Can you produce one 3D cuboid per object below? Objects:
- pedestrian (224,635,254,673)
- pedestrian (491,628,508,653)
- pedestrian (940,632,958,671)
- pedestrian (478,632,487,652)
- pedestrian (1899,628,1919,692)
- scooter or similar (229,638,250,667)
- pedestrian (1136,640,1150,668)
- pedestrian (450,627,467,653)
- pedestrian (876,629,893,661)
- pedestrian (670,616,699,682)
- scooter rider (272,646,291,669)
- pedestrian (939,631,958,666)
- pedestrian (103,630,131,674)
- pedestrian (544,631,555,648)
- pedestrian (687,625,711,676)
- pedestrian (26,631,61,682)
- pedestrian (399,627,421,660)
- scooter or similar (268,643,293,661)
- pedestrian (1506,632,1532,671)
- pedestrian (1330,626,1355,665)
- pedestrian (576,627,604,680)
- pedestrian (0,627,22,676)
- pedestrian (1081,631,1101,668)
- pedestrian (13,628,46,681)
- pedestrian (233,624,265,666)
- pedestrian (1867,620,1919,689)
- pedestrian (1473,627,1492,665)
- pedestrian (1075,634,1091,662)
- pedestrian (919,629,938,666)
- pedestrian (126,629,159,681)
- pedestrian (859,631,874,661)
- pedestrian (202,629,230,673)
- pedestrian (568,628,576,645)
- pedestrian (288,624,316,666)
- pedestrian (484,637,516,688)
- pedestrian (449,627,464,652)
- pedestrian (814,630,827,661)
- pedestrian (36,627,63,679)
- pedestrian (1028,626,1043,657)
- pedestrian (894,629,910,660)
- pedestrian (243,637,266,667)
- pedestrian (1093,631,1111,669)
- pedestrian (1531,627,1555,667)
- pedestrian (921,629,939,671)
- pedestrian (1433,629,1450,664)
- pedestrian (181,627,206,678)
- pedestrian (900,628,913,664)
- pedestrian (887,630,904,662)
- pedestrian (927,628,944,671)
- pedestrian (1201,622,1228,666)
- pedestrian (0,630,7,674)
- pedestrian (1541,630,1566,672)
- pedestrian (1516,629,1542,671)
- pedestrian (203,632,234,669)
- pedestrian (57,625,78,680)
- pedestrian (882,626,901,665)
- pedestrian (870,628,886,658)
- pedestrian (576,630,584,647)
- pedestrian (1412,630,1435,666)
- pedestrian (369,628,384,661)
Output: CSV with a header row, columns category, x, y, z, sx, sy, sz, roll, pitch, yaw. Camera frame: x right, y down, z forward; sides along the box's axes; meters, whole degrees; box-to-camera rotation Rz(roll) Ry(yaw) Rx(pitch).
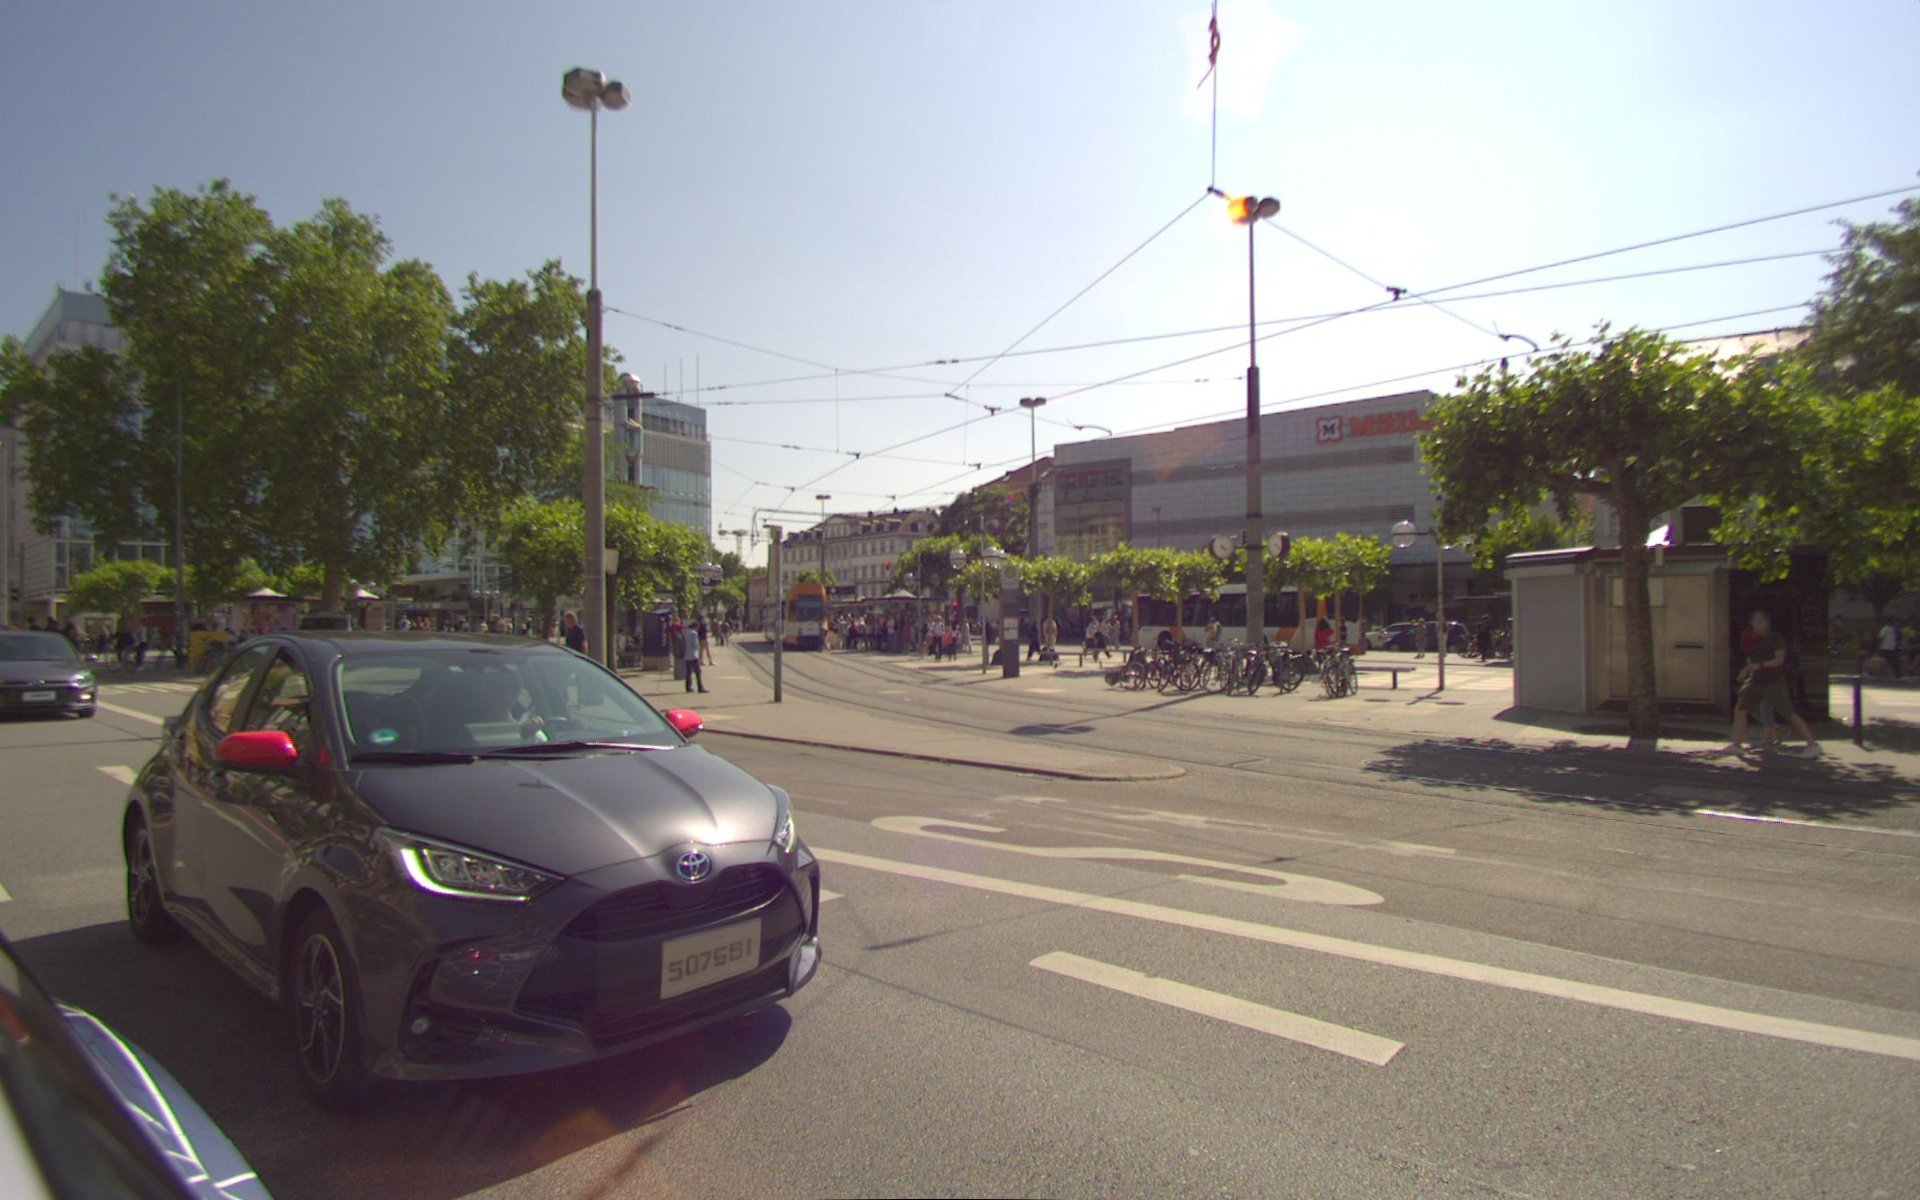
category,x,y,z,sx,sy,sz,roll,pitch,yaw
pedestrian,-28.542,2.129,40.068,0.671,1.435,0.744,-2,0,31
pedestrian,-32.807,2.868,72.053,0.780,1.760,0.744,-2,0,31
pedestrian,-0.421,2.021,39.632,0.549,1.477,0.621,-1,-4,19
pedestrian,-35.308,3.104,74.828,0.410,1.483,0.459,-2,0,39
pedestrian,26.951,1.695,28.456,0.572,1.793,0.624,3,-5,-35
scooter or similar,-29.789,2.160,41.834,0.559,1.128,0.540,-2,0,-22
pedestrian,9.549,2.834,52.903,0.672,1.477,0.623,0,-4,7
pedestrian,-34.441,2.743,69.525,0.780,1.760,0.744,-2,0,31
pedestrian,-3.776,2.273,50.893,0.675,1.561,0.575,-1,-4,17
pedestrian,-8.636,1.530,31.696,0.563,2.023,0.686,-1,-2,32
scooter rider,-26.093,2.202,38.910,0.499,0.845,0.350,-2,0,-16
pedestrian,-0.489,2.149,44.353,0.675,1.513,0.621,-1,-4,19
pedestrian,-34.175,2.094,41.027,0.666,1.760,0.742,-2,0,39
pedestrian,-35.121,3.388,86.671,0.757,1.483,0.548,-2,0,40
pedestrian,-9.498,1.830,36.852,0.605,1.830,0.570,-3,-5,40
pedestrian,-31.013,1.915,34.253,0.620,1.661,0.754,-2,0,-23
pedestrian,-30.293,2.397,55.742,0.780,1.760,0.744,-2,0,31
scooter or similar,-26.014,1.988,38.730,0.570,0.652,0.788,-2,0,-16
pedestrian,21.381,1.971,38.729,0.741,1.477,0.780,-2,-5,36
pedestrian,14.792,1.767,39.134,0.680,1.477,0.616,-3,-5,43
pedestrian,-12.718,1.840,34.803,0.671,1.808,0.625,0,-4,-1
pedestrian,-35.309,1.898,37.586,0.752,1.760,0.605,-2,-1,39
pedestrian,5.252,1.987,40.573,0.621,1.477,0.675,-1,-4,25
pedestrian,-32.541,1.890,35.396,0.529,1.796,0.745,-2,0,-14
pedestrian,-27.818,1.760,39.616,0.780,1.608,0.744,-2,0,31
pedestrian,25.150,1.467,27.117,0.953,1.807,1.082,4,-5,-40
pedestrian,20.229,1.784,39.178,0.622,1.477,0.578,-2,-5,29
pedestrian,6.744,2.637,55.466,0.840,1.561,0.677,-1,-4,14
pedestrian,-1.398,2.137,45.306,0.675,1.610,0.621,-1,-4,19
pedestrian,-27.450,1.854,33.987,0.640,1.704,0.637,-2,0,28
pedestrian,-5.001,2.459,54.027,0.573,1.561,0.677,-1,-4,14
pedestrian,-30.871,2.114,41.984,0.739,1.760,0.785,-2,0,-23
pedestrian,-35.400,3.334,92.247,0.546,1.483,0.760,-2,0,-13
pedestrian,-28.752,1.966,44.225,0.780,1.760,0.744,-2,0,31
pedestrian,-13.988,1.905,30.778,0.680,1.536,0.616,-3,-5,41
pedestrian,-36.488,2.882,73.358,0.740,1.760,0.784,-2,0,-11
pedestrian,-7.186,2.342,52.273,0.448,1.561,0.474,1,-4,14
pedestrian,-32.950,1.923,36.621,0.738,1.860,0.587,-2,-3,39
pedestrian,3.645,2.021,48.728,0.672,1.477,0.623,0,-4,7
pedestrian,-2.930,2.246,51.154,0.675,1.561,0.575,-1,-4,17
pedestrian,-29.669,2.183,42.568,0.615,1.251,0.663,-2,0,41
pedestrian,5.543,1.945,39.568,0.585,1.477,0.522,-1,-4,21
pedestrian,21.721,1.751,37.702,0.679,1.477,0.617,-2,-5,36
pedestrian,-1.249,2.076,42.003,0.584,1.744,0.557,-1,-4,19
pedestrian,20.435,1.978,42.954,0.558,1.477,0.582,-1,-4,22
pedestrian,-27.175,1.848,35.887,0.516,1.756,0.511,-2,0,28
pedestrian,-2.625,2.236,49.393,0.462,1.731,0.555,-1,-4,19
pedestrian,-3.188,2.275,49.980,0.675,1.561,0.575,-1,-4,17
pedestrian,-0.962,1.974,39.968,0.518,1.678,0.469,-1,-4,19
pedestrian,8.605,1.495,34.209,0.670,1.477,0.625,4,-5,-43
pedestrian,-38.746,2.099,40.444,0.732,1.760,0.865,-2,0,39
pedestrian,20.876,1.806,35.595,0.679,1.477,0.617,-2,-5,36
pedestrian,20.447,1.815,36.357,0.679,1.477,0.617,-3,-5,38
pedestrian,-29.485,2.005,40.254,0.780,1.418,0.744,-2,0,31
pedestrian,-31.048,1.822,35.210,0.510,1.849,0.716,-1,0,-41
pedestrian,-3.225,2.167,47.755,0.675,1.809,0.621,-1,-4,19
pedestrian,-4.352,2.291,53.644,0.675,1.561,0.575,-1,-4,17
pedestrian,-34.207,3.499,91.066,0.546,1.483,0.760,-2,0,-13
pedestrian,19.400,2.024,42.354,0.680,1.477,0.616,-3,-5,43
pedestrian,-31.374,2.399,54.451,0.629,1.706,0.754,-2,0,-27
